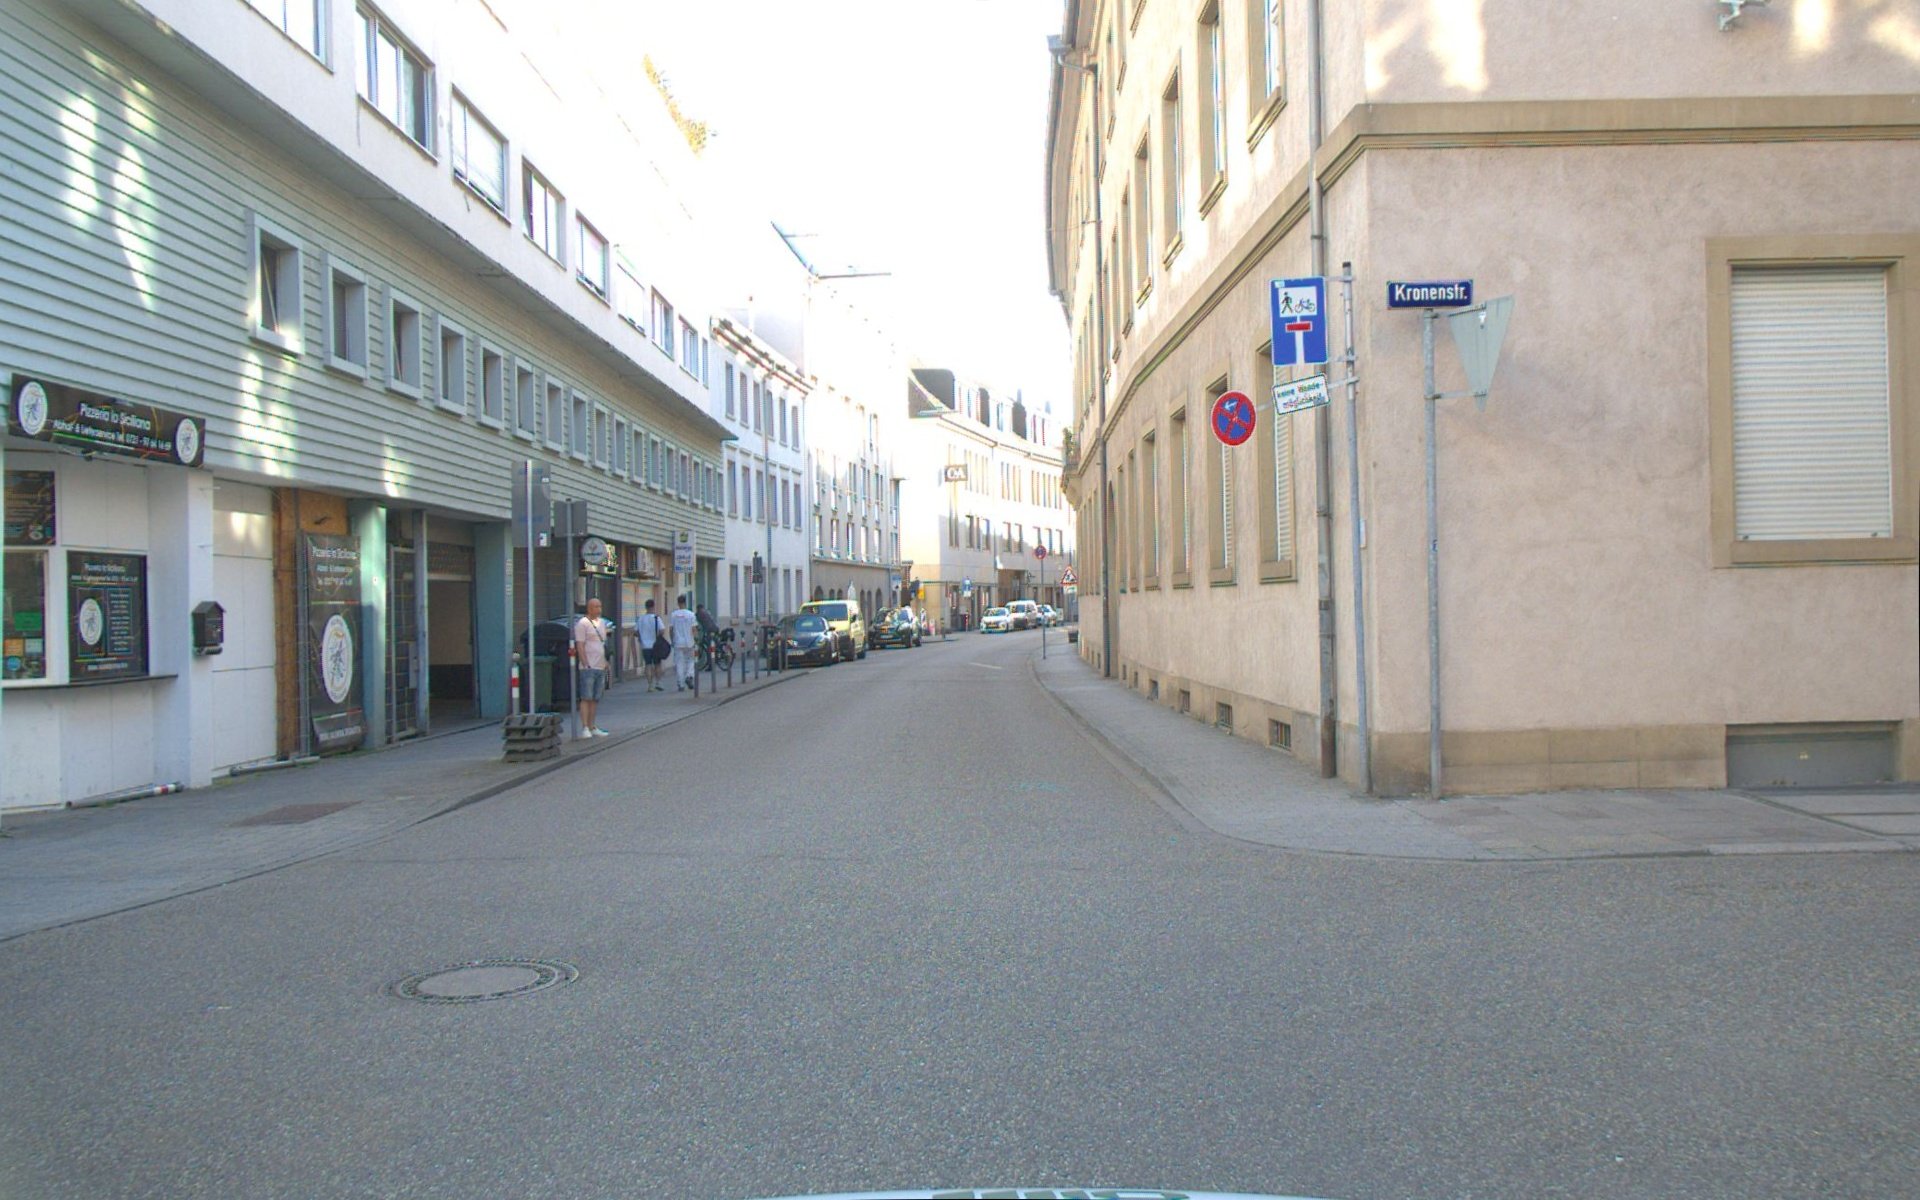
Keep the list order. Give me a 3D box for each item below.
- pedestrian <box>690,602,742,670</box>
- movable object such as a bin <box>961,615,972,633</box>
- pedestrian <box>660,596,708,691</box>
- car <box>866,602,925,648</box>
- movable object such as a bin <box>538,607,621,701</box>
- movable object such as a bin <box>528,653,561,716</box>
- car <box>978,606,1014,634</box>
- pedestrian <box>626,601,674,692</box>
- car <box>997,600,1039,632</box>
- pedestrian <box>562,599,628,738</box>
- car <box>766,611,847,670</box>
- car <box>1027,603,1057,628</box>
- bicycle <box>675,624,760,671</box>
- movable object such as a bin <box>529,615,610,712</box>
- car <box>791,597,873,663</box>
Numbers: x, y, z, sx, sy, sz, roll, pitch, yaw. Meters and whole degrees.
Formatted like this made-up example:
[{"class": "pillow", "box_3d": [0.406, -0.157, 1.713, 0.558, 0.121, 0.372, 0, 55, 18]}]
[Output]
[{"class": "pedestrian", "box_3d": [-6.434, 0.944, 43.647, 1.056, 1.759, 0.801, -2, -1, 24]}, {"class": "movable object such as a bin", "box_3d": [0.373, 1.467, 101.135, 0.596, 1.079, 0.714, 1, 0, 6]}, {"class": "pedestrian", "box_3d": [-5.316, 0.829, 31.843, 0.683, 1.765, 0.829, -3, -1, 2]}, {"class": "car", "box_3d": [-2.658, 1.026, 69.155, 1.703, 1.740, 4.194, -4, 0, 7]}, {"class": "movable object such as a bin", "box_3d": [-6.658, 0.928, 28.999, 1.099, 1.547, 1.342, -2, 1, 0]}, {"class": "movable object such as a bin", "box_3d": [-6.635, 1.347, 26.412, 0.385, 0.958, 0.467, -2, 0, 0]}, {"class": "car", "box_3d": [2.186, 1.209, 99.691, 1.635, 1.533, 3.797, -3, 0, 9]}, {"class": "pedestrian", "box_3d": [-5.977, 0.881, 31.922, 0.658, 1.699, 0.895, -2, -1, 2]}, {"class": "car", "box_3d": [3.713, 0.992, 105.397, 1.635, 1.850, 4.555, -3, 0, 14]}, {"class": "pedestrian", "box_3d": [-4.556, 0.840, 20.670, 0.485, 1.699, 0.624, 0, -1, 43]}, {"class": "car", "box_3d": [-4.373, 1.135, 47.705, 1.781, 1.512, 4.077, -4, 0, 1]}, {"class": "car", "box_3d": [5.560, 1.044, 111.376, 1.244, 1.533, 3.404, -3, 0, 15]}, {"class": "bicycle", "box_3d": [-6.399, 1.248, 43.632, 2.086, 1.183, 0.823, -2, -1, 24]}, {"class": "movable object such as a bin", "box_3d": [-6.458, 1.030, 27.431, 0.949, 1.497, 1.474, -2, 1, 0]}, {"class": "car", "box_3d": [-4.053, 0.932, 53.105, 1.841, 1.899, 4.866, -4, 0, 3]}]
